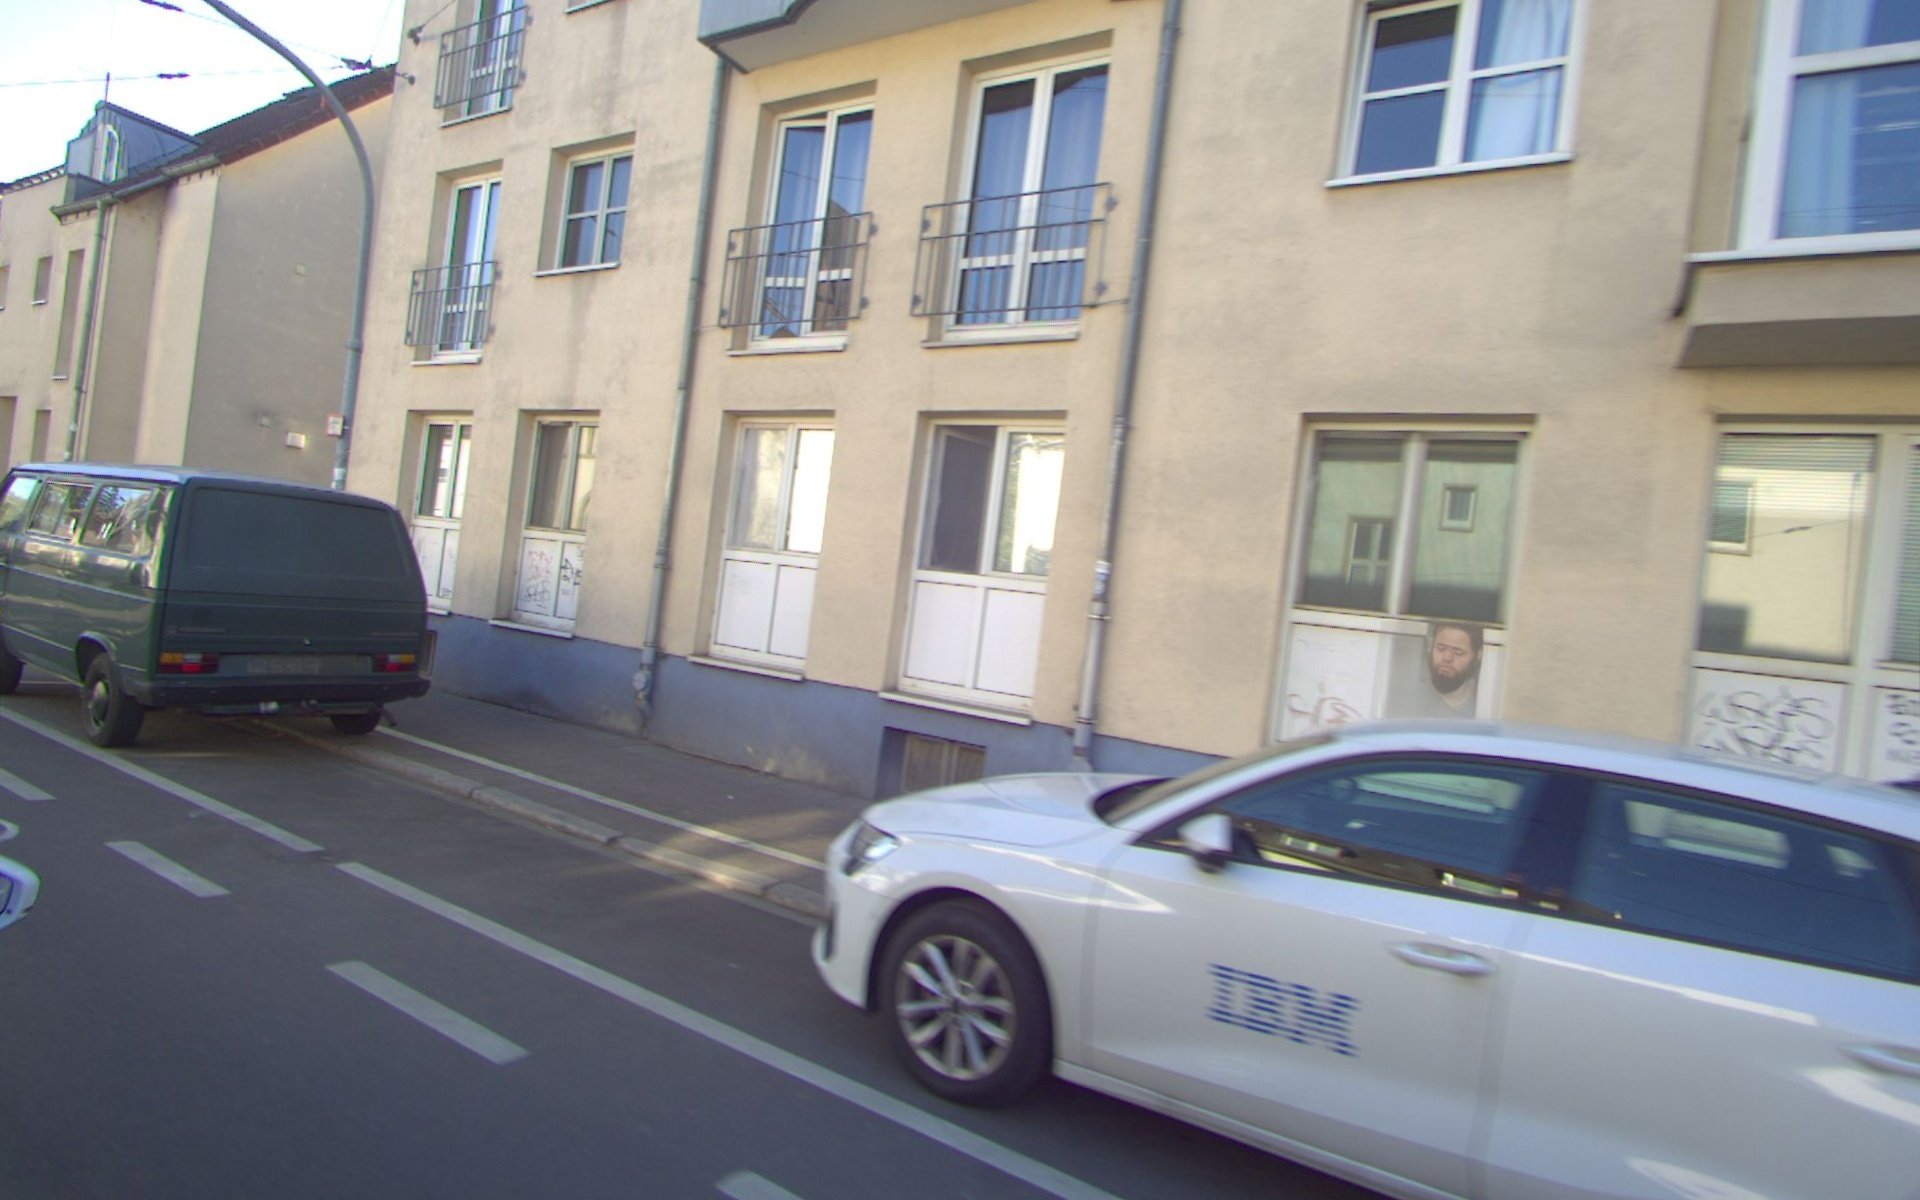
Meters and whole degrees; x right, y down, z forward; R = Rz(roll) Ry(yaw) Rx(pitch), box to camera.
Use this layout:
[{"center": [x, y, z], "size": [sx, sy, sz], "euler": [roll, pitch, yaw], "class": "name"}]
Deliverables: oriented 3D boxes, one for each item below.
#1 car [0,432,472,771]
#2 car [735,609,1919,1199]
[{"center": [-6.263, -0.090, 8.033], "size": [4.486, 2.010, 1.910], "euler": [7, -2, 31], "class": "car"}, {"center": [1.452, 1.079, 3.308], "size": [4.102, 1.508, 1.681], "euler": [7, -2, 31], "class": "car"}]
